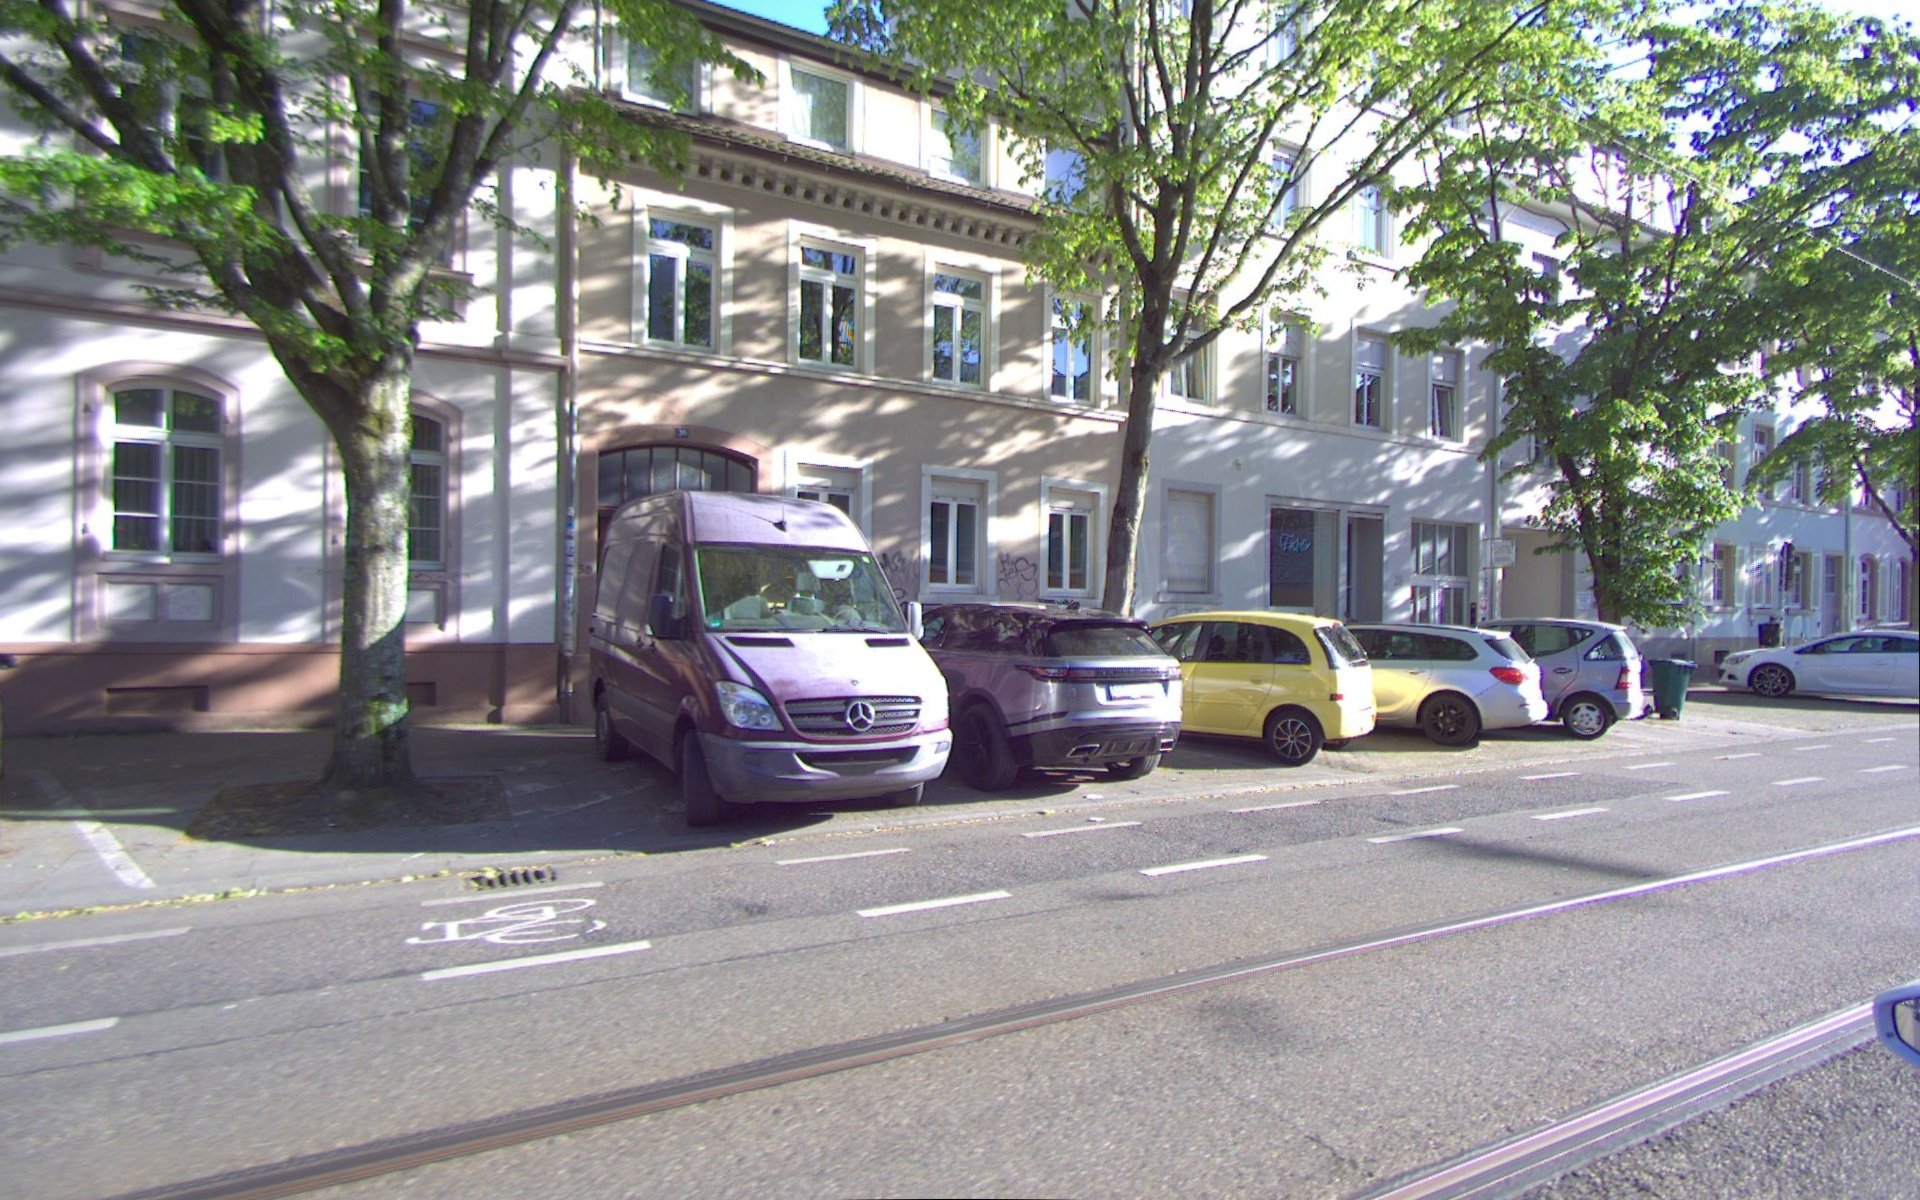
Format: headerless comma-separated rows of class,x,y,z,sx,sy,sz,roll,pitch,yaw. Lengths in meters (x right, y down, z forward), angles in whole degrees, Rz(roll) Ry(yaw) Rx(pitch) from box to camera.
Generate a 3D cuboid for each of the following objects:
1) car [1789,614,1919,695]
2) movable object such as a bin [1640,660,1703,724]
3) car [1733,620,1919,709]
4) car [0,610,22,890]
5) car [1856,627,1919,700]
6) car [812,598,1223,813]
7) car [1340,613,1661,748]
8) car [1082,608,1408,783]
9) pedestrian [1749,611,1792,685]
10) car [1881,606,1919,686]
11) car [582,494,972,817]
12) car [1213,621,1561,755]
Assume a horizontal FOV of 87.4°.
car,21.743,1.262,23.044,3.931,1.679,1.806,3,2,32
movable object such as a bin,11.514,1.476,16.254,0.662,0.957,0.619,1,-1,-29
car,18.270,1.285,20.626,3.596,1.550,1.876,3,1,43
car,-7.362,0.850,6.631,1.659,1.472,4.047,2,0,-43
car,26.374,1.647,25.588,4.848,1.818,2.207,0,-1,26
car,0.306,0.897,10.783,2.138,1.747,4.806,1,-1,-30
car,7.995,1.078,15.095,3.946,1.699,1.692,0,0,45
car,3.284,1.041,11.803,3.319,1.573,1.381,4,-2,36
pedestrian,20.546,1.205,25.458,0.616,1.862,0.641,1,-1,-27
car,24.318,1.188,23.721,3.383,1.867,1.731,3,-1,29
car,-1.932,0.397,9.145,2.138,2.146,4.416,1,-1,-30
car,5.752,1.104,13.801,4.108,1.573,1.695,-2,-2,39
